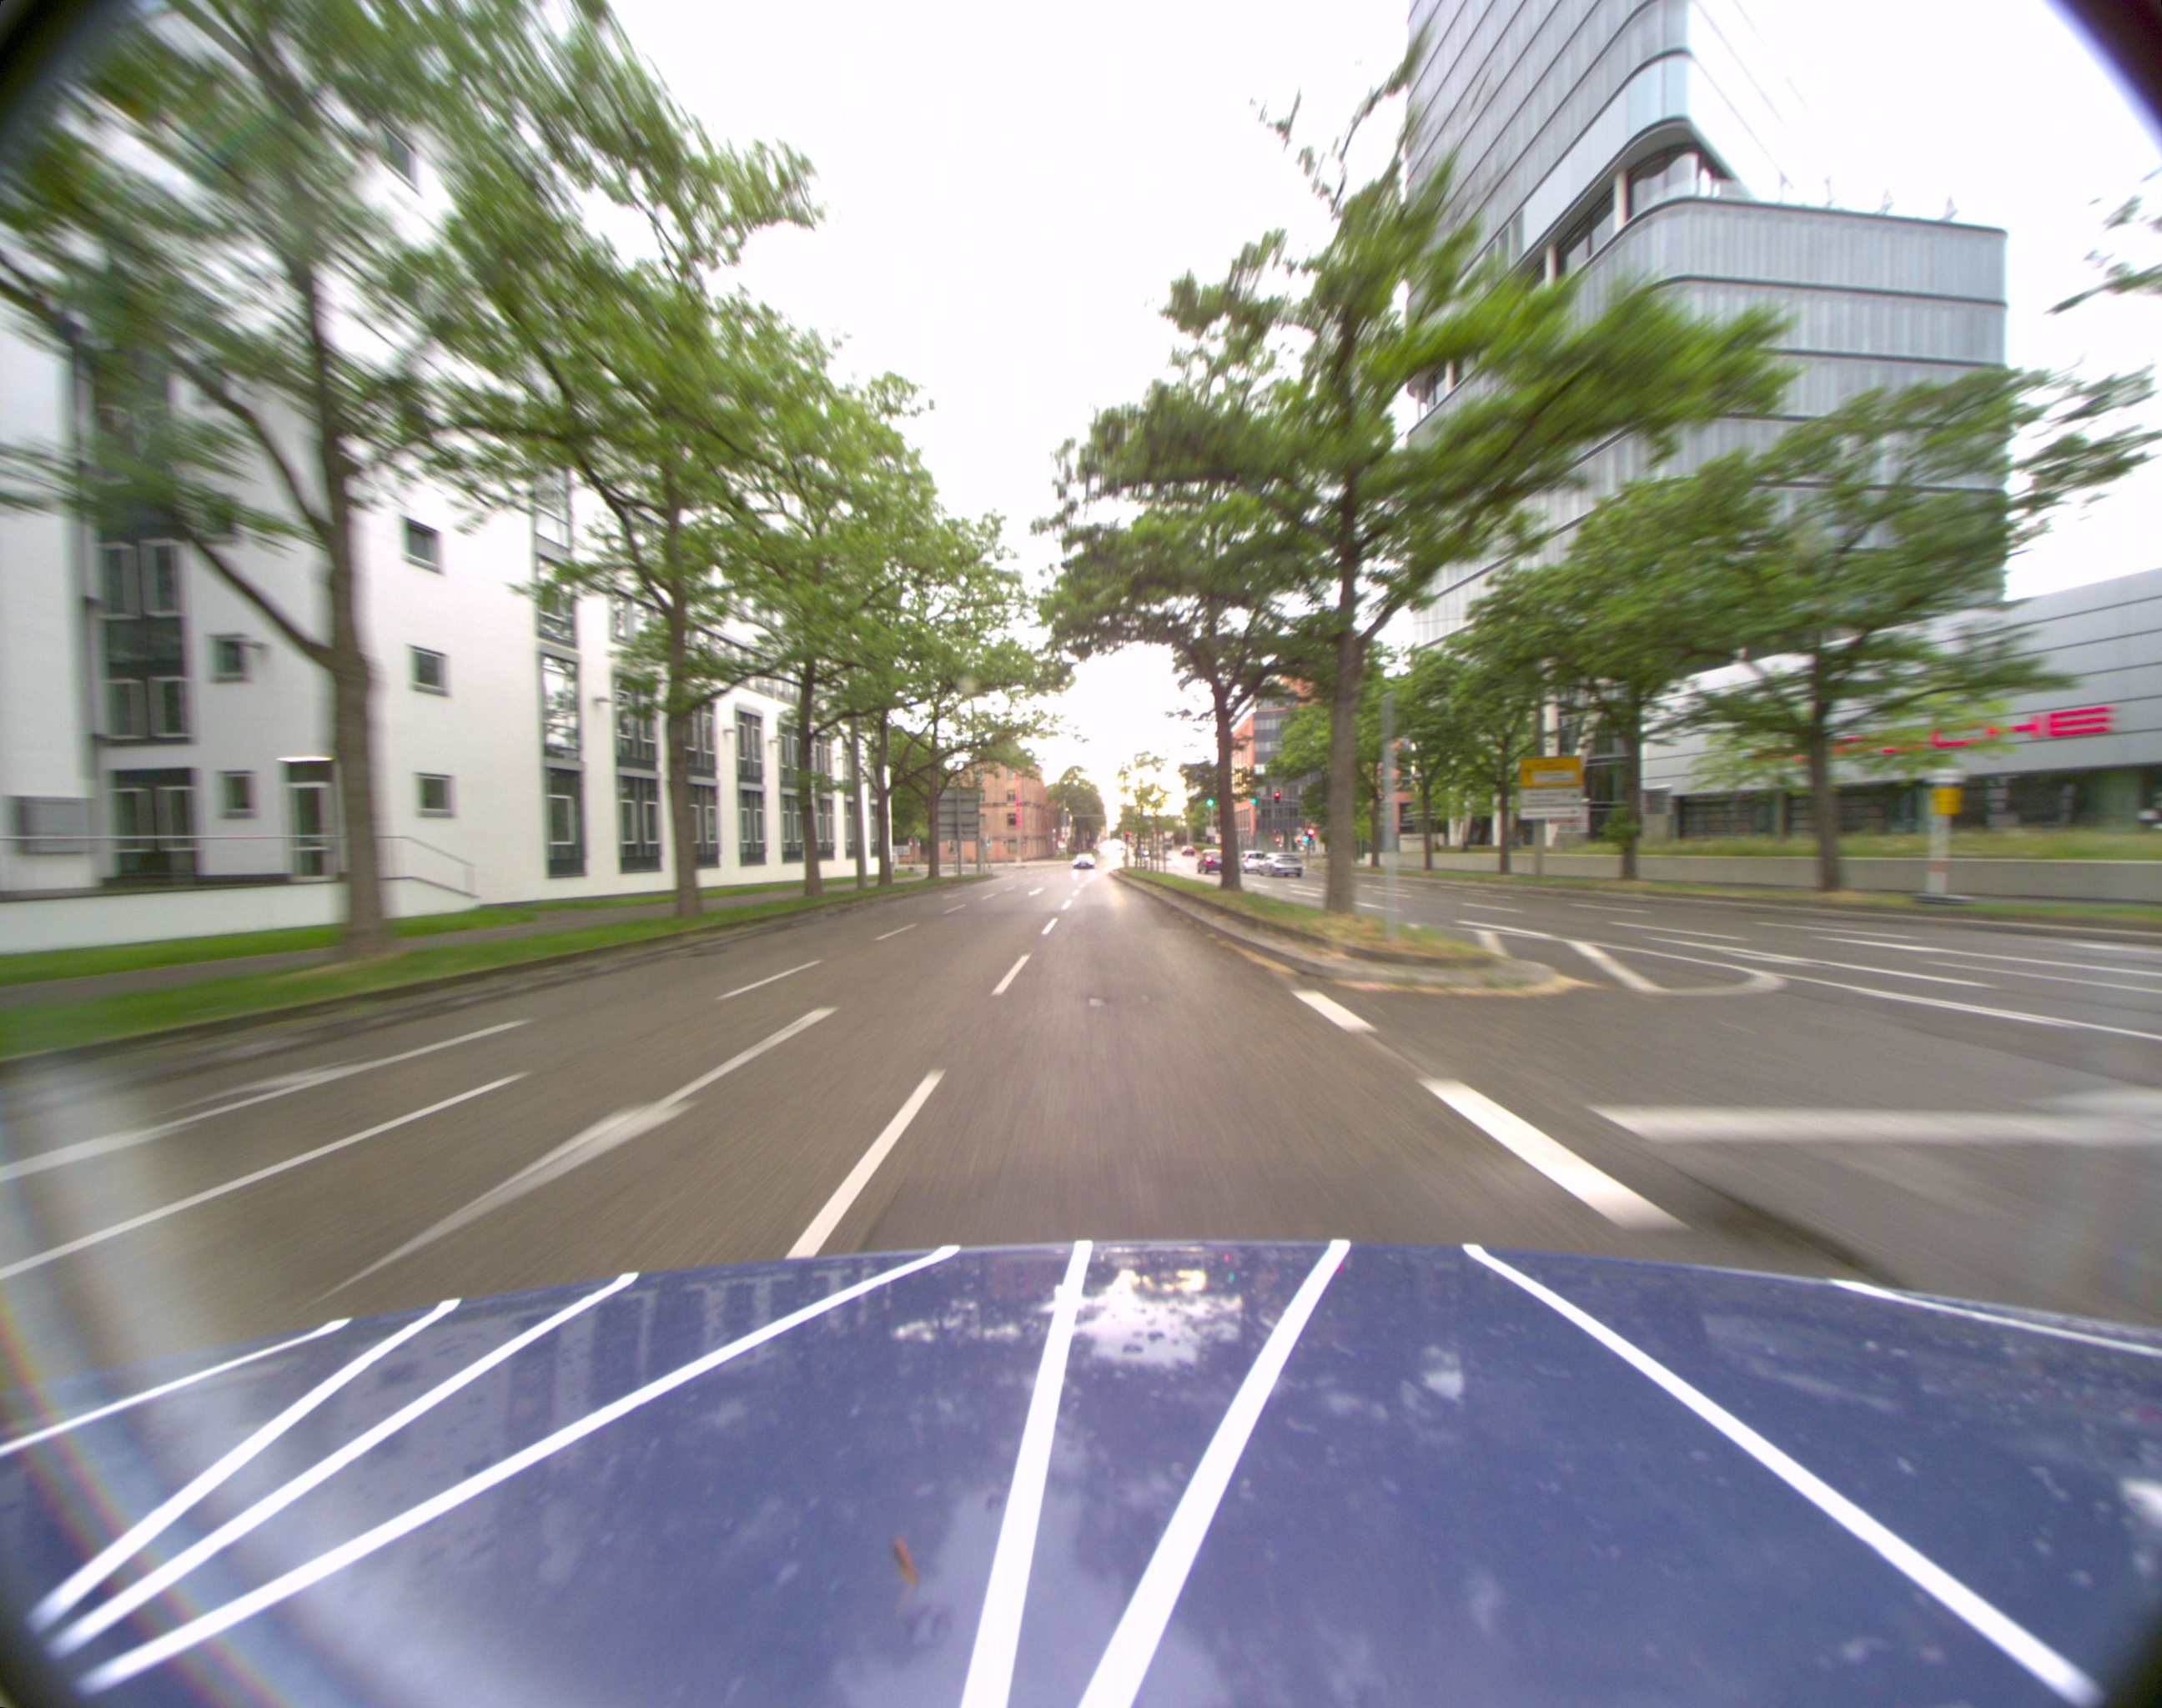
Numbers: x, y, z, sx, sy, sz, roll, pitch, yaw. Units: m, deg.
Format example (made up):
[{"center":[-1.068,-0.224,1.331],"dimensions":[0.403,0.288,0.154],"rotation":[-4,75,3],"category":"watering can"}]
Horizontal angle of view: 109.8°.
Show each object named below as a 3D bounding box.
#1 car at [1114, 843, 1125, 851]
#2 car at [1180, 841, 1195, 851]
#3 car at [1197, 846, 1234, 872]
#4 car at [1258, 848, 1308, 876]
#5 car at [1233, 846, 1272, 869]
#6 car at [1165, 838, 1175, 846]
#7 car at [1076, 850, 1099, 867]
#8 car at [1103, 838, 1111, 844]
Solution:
[{"center":[8.226,-1.519,162.658],"dimensions":[1.998,1.674,3.999],"rotation":[-1,1,0],"category":"car"},{"center":[16.782,-1.241,119.956],"dimensions":[1.783,1.445,3.999],"rotation":[-3,2,0],"category":"car"},{"center":[9.166,0.306,52.013],"dimensions":[1.846,1.581,4.172],"rotation":[-1,2,0],"category":"car"},{"center":[12.111,0.438,45.884],"dimensions":[1.894,1.445,3.999],"rotation":[-3,2,0],"category":"car"},{"center":[12.201,0.224,54.225],"dimensions":[1.783,1.445,3.999],"rotation":[-3,2,0],"category":"car"},{"center":[18.448,-2.520,158.136],"dimensions":[1.782,1.445,4.000],"rotation":[-3,2,4],"category":"car"},{"center":[0.651,0.397,70.214],"dimensions":[1.878,1.346,4.331],"rotation":[-3,2,3],"category":"car"},{"center":[6.921,-3.413,202.784],"dimensions":[1.998,1.576,4.001],"rotation":[-1,1,3],"category":"car"}]
